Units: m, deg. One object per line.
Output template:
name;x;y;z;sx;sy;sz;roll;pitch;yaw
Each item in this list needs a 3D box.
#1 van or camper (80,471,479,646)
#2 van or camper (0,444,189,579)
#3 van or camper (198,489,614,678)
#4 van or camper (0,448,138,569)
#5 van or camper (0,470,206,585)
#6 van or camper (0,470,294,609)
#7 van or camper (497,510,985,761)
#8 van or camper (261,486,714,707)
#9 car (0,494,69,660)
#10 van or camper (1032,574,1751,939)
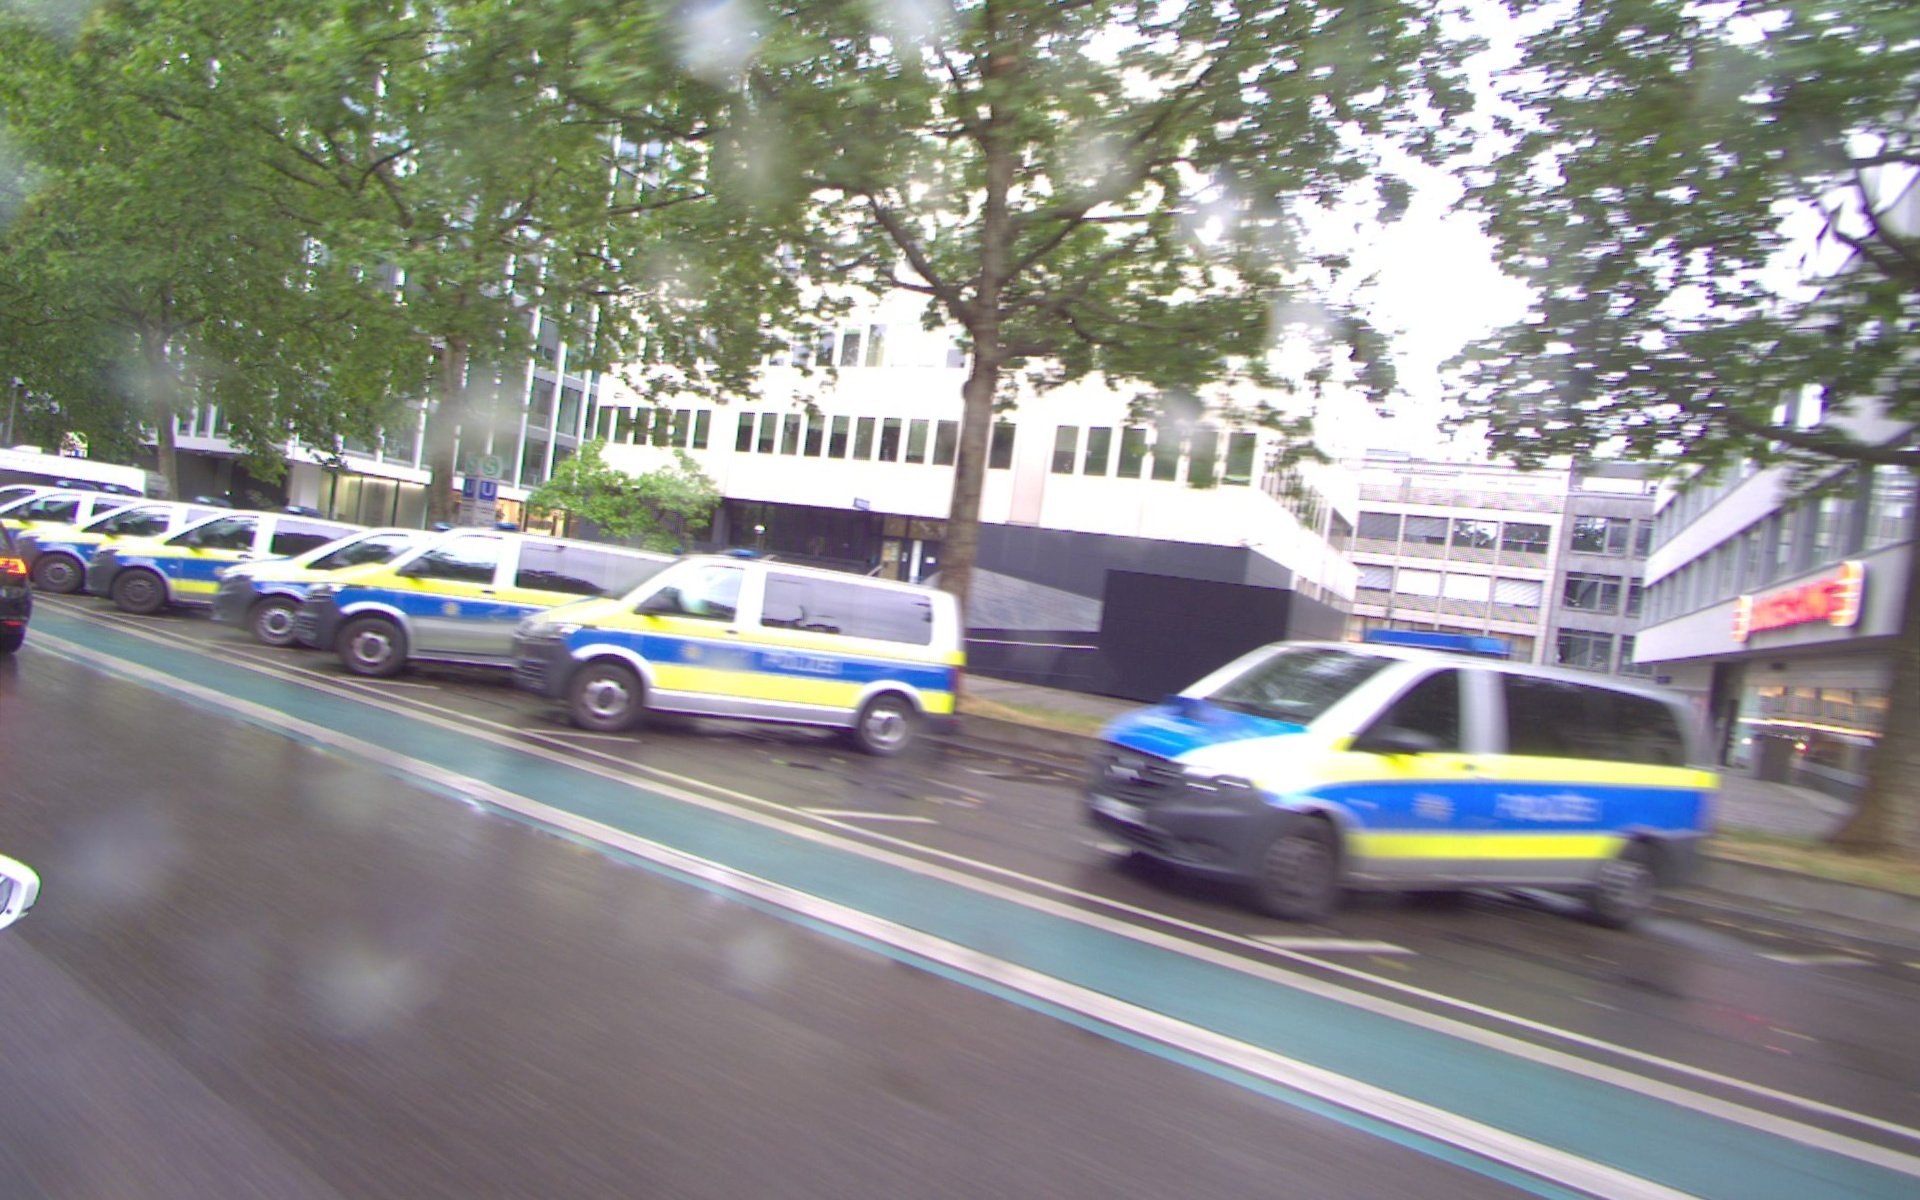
van or camper;-11.130;-0.612;16.999;5.038;2.049;2.096;8;-1;-21
van or camper;-22.443;-2.257;24.099;5.736;2.713;1.989;8;0;-23
van or camper;-7.998;-0.159;15.058;4.964;2.019;1.987;8;-1;-26
van or camper;-25.089;-2.569;25.671;5.737;2.709;2.137;8;-1;-21
van or camper;-20.057;-1.656;22.182;4.951;2.037;1.990;8;-2;-23
van or camper;-16.889;-1.190;20.425;5.145;2.015;1.989;9;-2;-24
van or camper;-2.378;0.458;11.256;4.790;2.022;1.859;8;-1;-22
van or camper;-5.832;0.038;12.992;4.732;2.034;1.990;8;-1;-22
car;-10.352;-0.440;9.487;3.933;1.430;1.767;7;0;31
van or camper;3.344;1.216;7.771;5.022;2.042;1.987;9;-2;-22
